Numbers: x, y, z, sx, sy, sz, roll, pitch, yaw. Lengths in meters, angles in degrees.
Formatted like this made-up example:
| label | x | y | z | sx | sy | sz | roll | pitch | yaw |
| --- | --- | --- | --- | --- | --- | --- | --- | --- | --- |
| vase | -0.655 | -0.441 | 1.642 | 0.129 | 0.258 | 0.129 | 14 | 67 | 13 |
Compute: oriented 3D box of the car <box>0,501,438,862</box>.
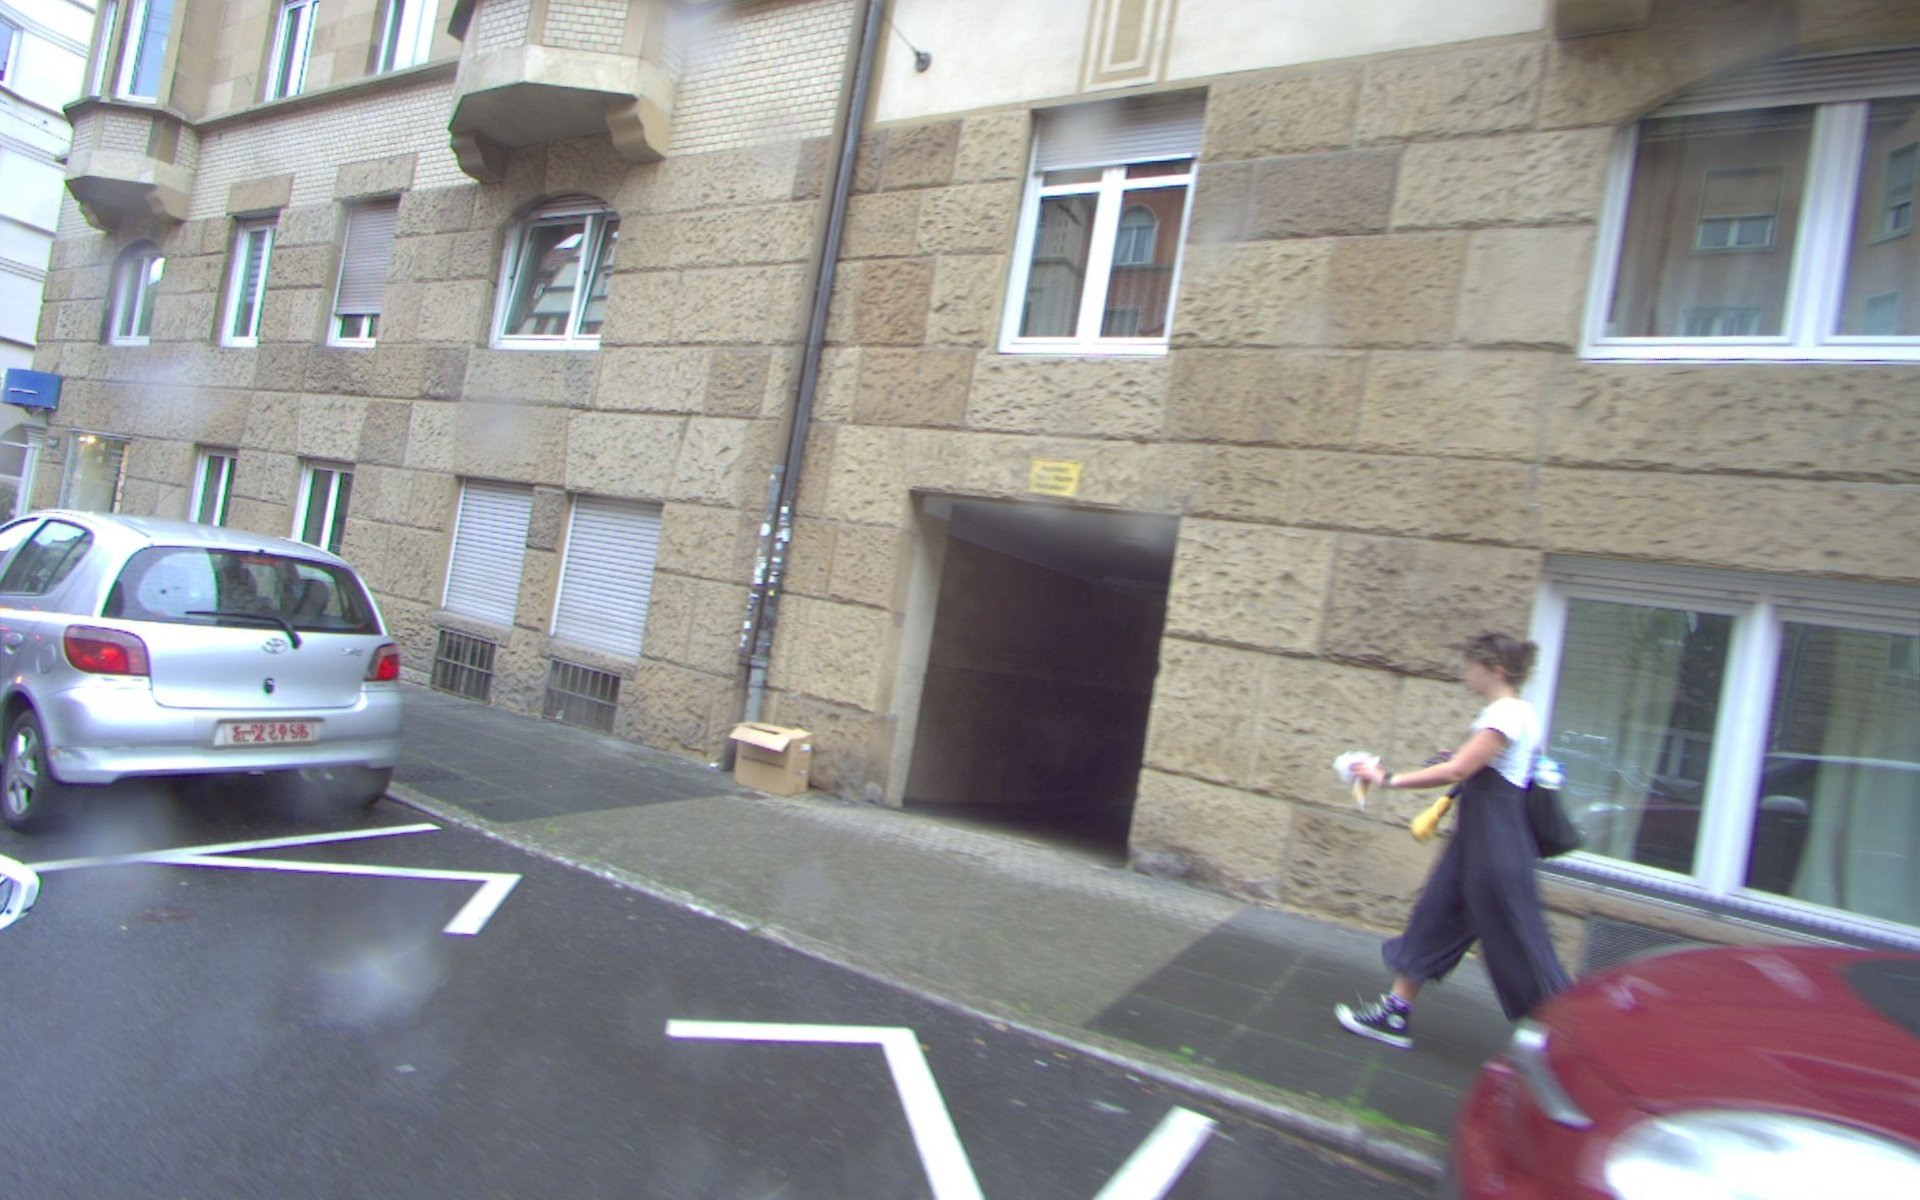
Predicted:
| label | x | y | z | sx | sy | sz | roll | pitch | yaw |
| --- | --- | --- | --- | --- | --- | --- | --- | --- | --- |
| car | -4.789 | 0.278 | 5.831 | 3.258 | 1.485 | 1.616 | 7 | 0 | 33 |

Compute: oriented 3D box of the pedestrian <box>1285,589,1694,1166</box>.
| label | x | y | z | sx | sy | sz | roll | pitch | yaw |
| --- | --- | --- | --- | --- | --- | --- | --- | --- | --- |
| pedestrian | 1.984 | 0.921 | 3.833 | 1.093 | 1.768 | 0.743 | 6 | -1 | 32 |

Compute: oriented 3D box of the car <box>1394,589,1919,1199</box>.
| label | x | y | z | sx | sy | sz | roll | pitch | yaw |
| --- | --- | --- | --- | --- | --- | --- | --- | --- | --- |
| car | 2.713 | 1.090 | 1.154 | 3.932 | 1.617 | 1.807 | 7 | -2 | 30 |
